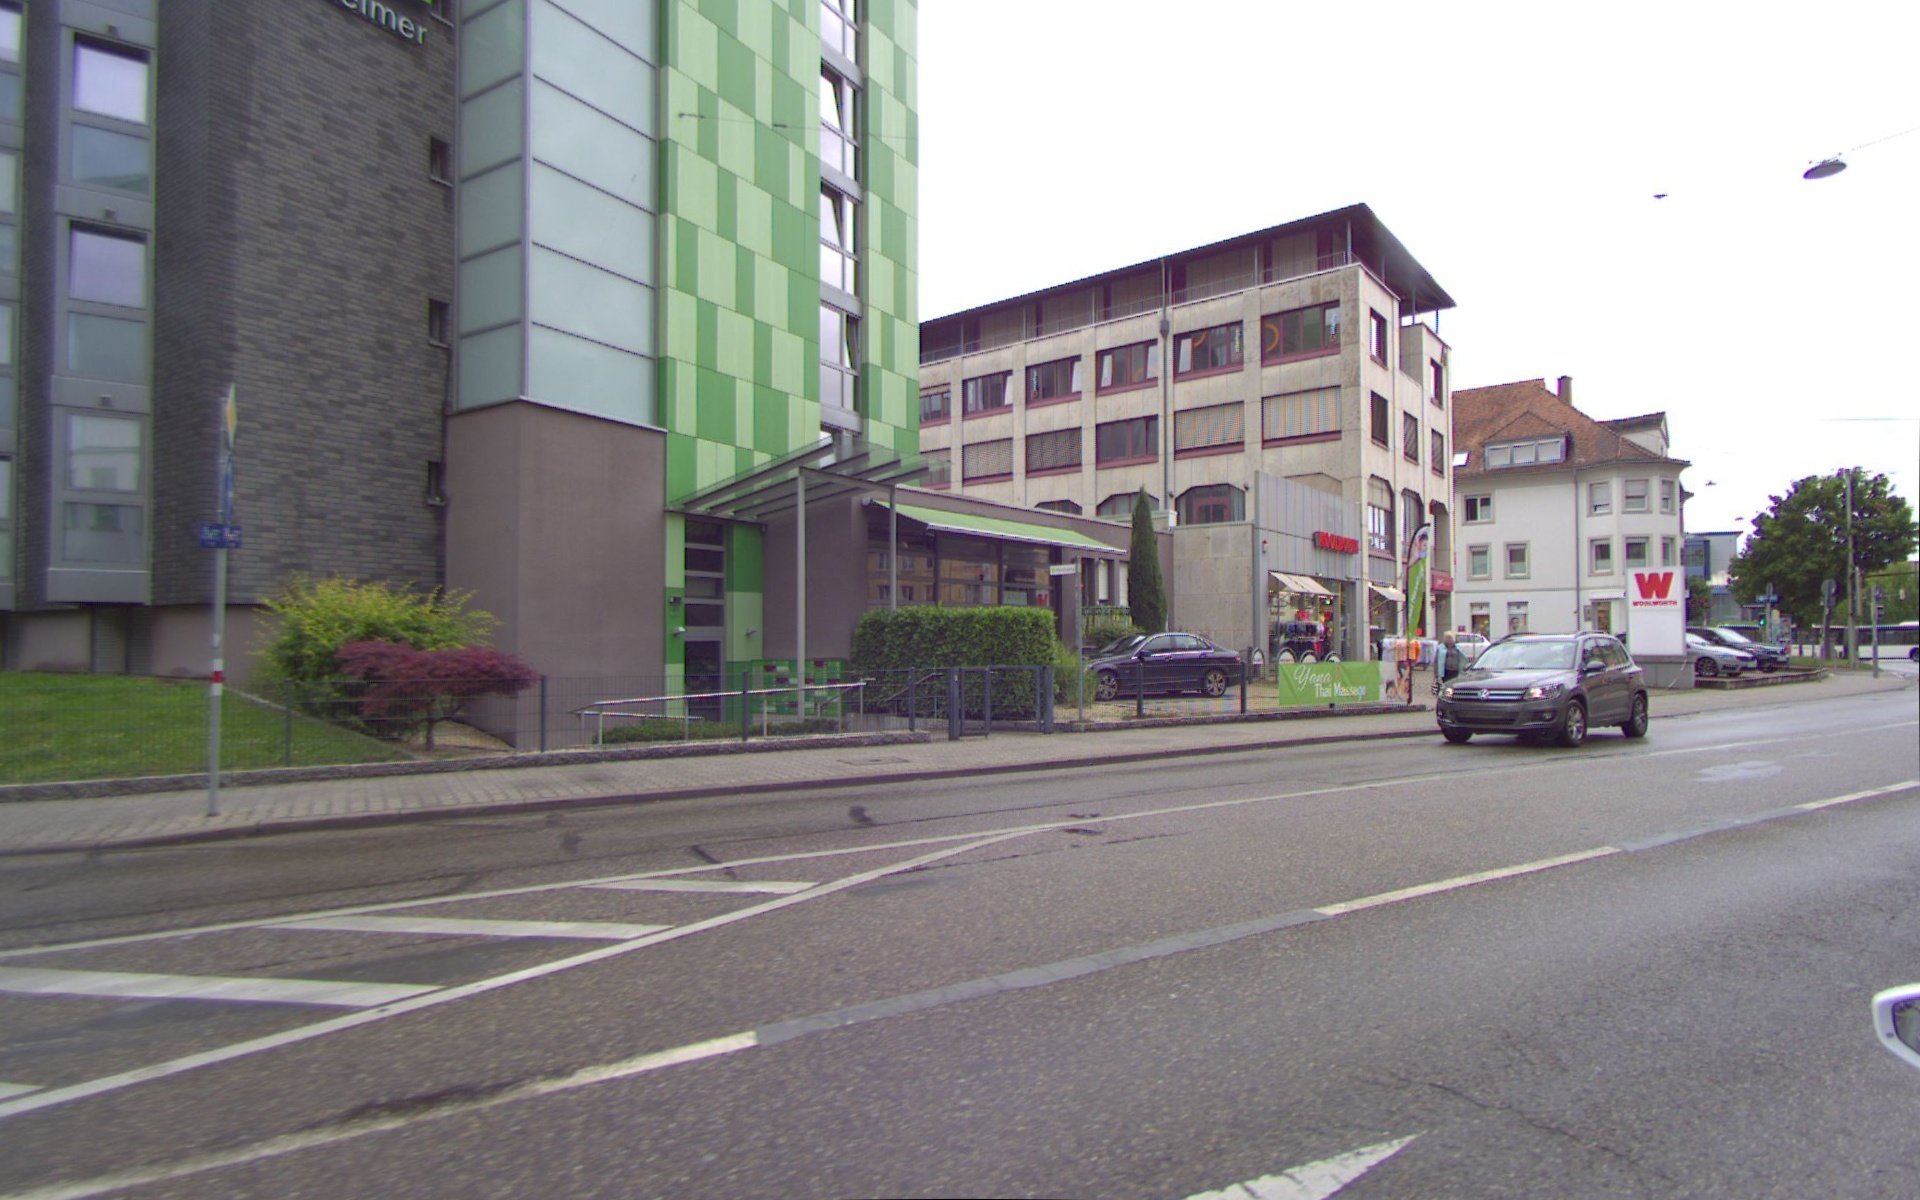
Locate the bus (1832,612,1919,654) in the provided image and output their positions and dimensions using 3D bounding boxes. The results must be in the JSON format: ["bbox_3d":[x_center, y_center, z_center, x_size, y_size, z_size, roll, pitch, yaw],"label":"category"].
[{"bbox_3d":[73.090,2.515,77.371,2.865,3.146,9.130,0,-2,-9],"label":"bus"}]

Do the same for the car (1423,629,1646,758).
[{"bbox_3d":[8.793,1.296,15.227,4.031,1.681,1.929,2,-3,-45],"label":"car"}]

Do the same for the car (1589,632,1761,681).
[{"bbox_3d":[24.231,1.880,34.207,1.868,1.546,4.415,1,-3,-36],"label":"car"}]

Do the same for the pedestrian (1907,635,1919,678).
[{"bbox_3d":[35.665,2.104,37.221,0.751,1.549,0.506,1,-1,38],"label":"pedestrian"}]

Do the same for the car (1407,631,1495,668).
[{"bbox_3d":[23.392,2.366,47.885,3.699,1.519,1.577,4,-3,-17],"label":"car"}]

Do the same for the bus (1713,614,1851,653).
[{"bbox_3d":[70.290,2.918,86.202,2.877,3.146,8.823,1,-2,-23],"label":"bus"}]

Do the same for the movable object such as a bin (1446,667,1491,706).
[{"bbox_3d":[11.032,1.862,21.800,0.718,0.799,0.755,0,-2,14],"label":"movable object such as a bin"}]

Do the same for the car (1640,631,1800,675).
[{"bbox_3d":[28.300,1.934,37.574,1.926,1.526,4.408,1,-2,-23],"label":"car"}]

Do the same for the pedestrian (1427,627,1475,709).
[{"bbox_3d":[10.483,1.442,21.474,0.733,1.707,0.755,-1,-2,14],"label":"pedestrian"}]

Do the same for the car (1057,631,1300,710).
[{"bbox_3d":[4.466,1.384,20.479,4.588,1.457,1.989,1,-2,-24],"label":"car"}]
